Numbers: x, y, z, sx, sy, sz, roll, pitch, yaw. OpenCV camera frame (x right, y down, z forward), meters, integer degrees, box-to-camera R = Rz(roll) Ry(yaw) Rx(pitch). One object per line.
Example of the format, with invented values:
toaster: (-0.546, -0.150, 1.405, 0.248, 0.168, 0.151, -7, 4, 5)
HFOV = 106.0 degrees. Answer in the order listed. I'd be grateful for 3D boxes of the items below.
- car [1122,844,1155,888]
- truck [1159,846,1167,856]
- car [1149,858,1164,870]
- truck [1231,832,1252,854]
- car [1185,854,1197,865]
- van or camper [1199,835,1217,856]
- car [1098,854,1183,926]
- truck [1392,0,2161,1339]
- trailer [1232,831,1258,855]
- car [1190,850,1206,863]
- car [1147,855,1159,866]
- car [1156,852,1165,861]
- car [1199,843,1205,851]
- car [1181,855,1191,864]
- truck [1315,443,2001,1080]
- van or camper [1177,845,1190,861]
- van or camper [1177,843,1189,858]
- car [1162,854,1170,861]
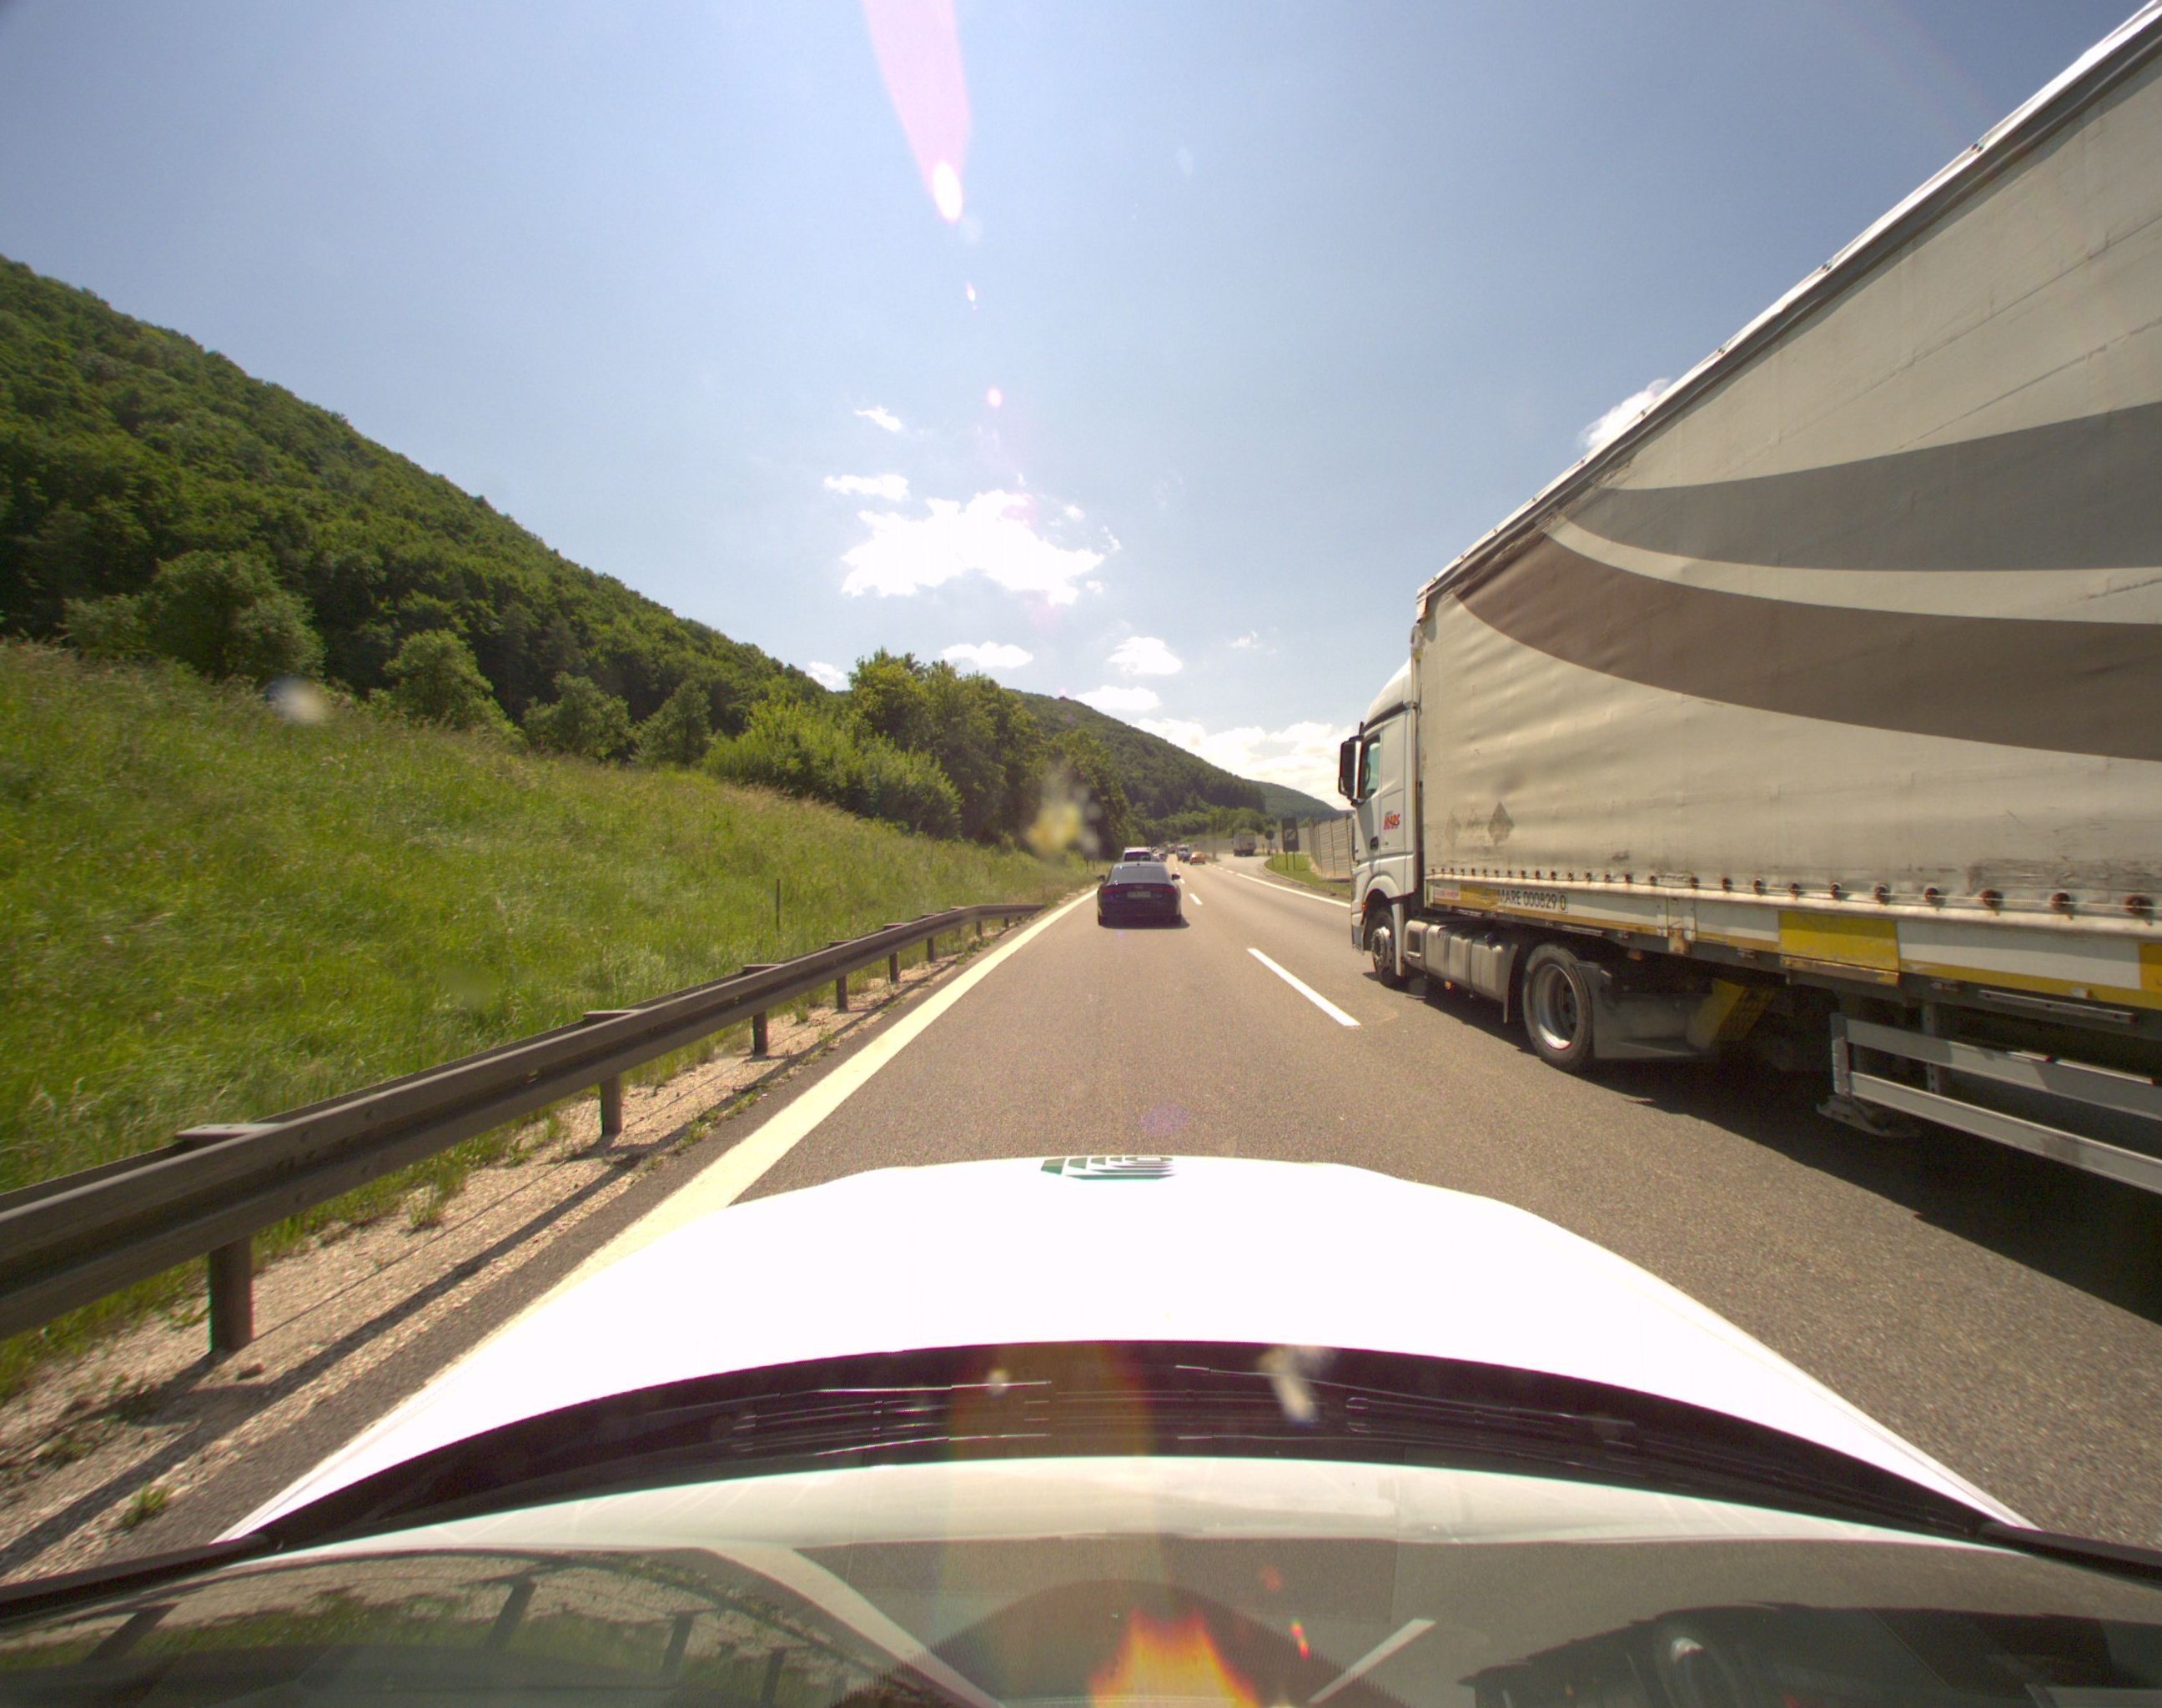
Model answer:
car: (2.715, 0.545, 38.780, 1.515, 1.968, 3.517, 0, 0, 3)
truck: (22.431, -0.905, 222.831, 2.053, 2.605, 5.626, 0, 0, 8)
car: (8.397, 1.129, 90.861, 1.514, 1.294, 3.518, 0, 0, 4)
truck: (29.678, -1.935, 150.794, 3.395, 3.900, 5.396, -2, 0, 6)
car: (15.599, 0.775, 115.343, 1.522, 1.525, 3.603, 0, -1, 6)
van or camper: (24.107, -1.593, 154.536, 2.782, 3.841, 6.174, 0, -1, 4)
car: (1.336, 0.775, 19.181, 1.805, 1.514, 3.516, -1, 0, 2)
truck: (4.464, -0.660, 1.289, 2.717, 4.068, 13.740, -1, -1, 0)
trailer: (28.992, -1.894, 144.632, 3.394, 3.900, 11.170, -2, 0, 6)
car: (14.284, 0.319, 99.553, 1.869, 1.499, 4.007, -2, 0, 6)
car: (10.238, 0.963, 115.948, 1.513, 1.553, 3.521, 0, 0, 7)
car: (13.519, 0.469, 138.424, 1.513, 1.553, 3.522, 0, 0, 8)
car: (34.599, -2.040, 233.487, 1.568, 2.013, 3.434, -2, 0, 6)
car: (17.437, 0.934, 135.416, 1.522, 1.525, 3.603, 0, -1, 6)
truck: (4.539, -0.580, 8.130, 2.710, 4.068, 5.754, -1, -1, 0)
van or camper: (20.585, -0.158, 163.273, 2.417, 3.155, 5.212, 0, -1, 6)
van or camper: (26.361, -0.822, 211.070, 2.782, 3.907, 6.174, 0, -1, 4)
car: (18.345, 0.693, 175.686, 1.513, 1.553, 3.522, 0, 0, 8)
